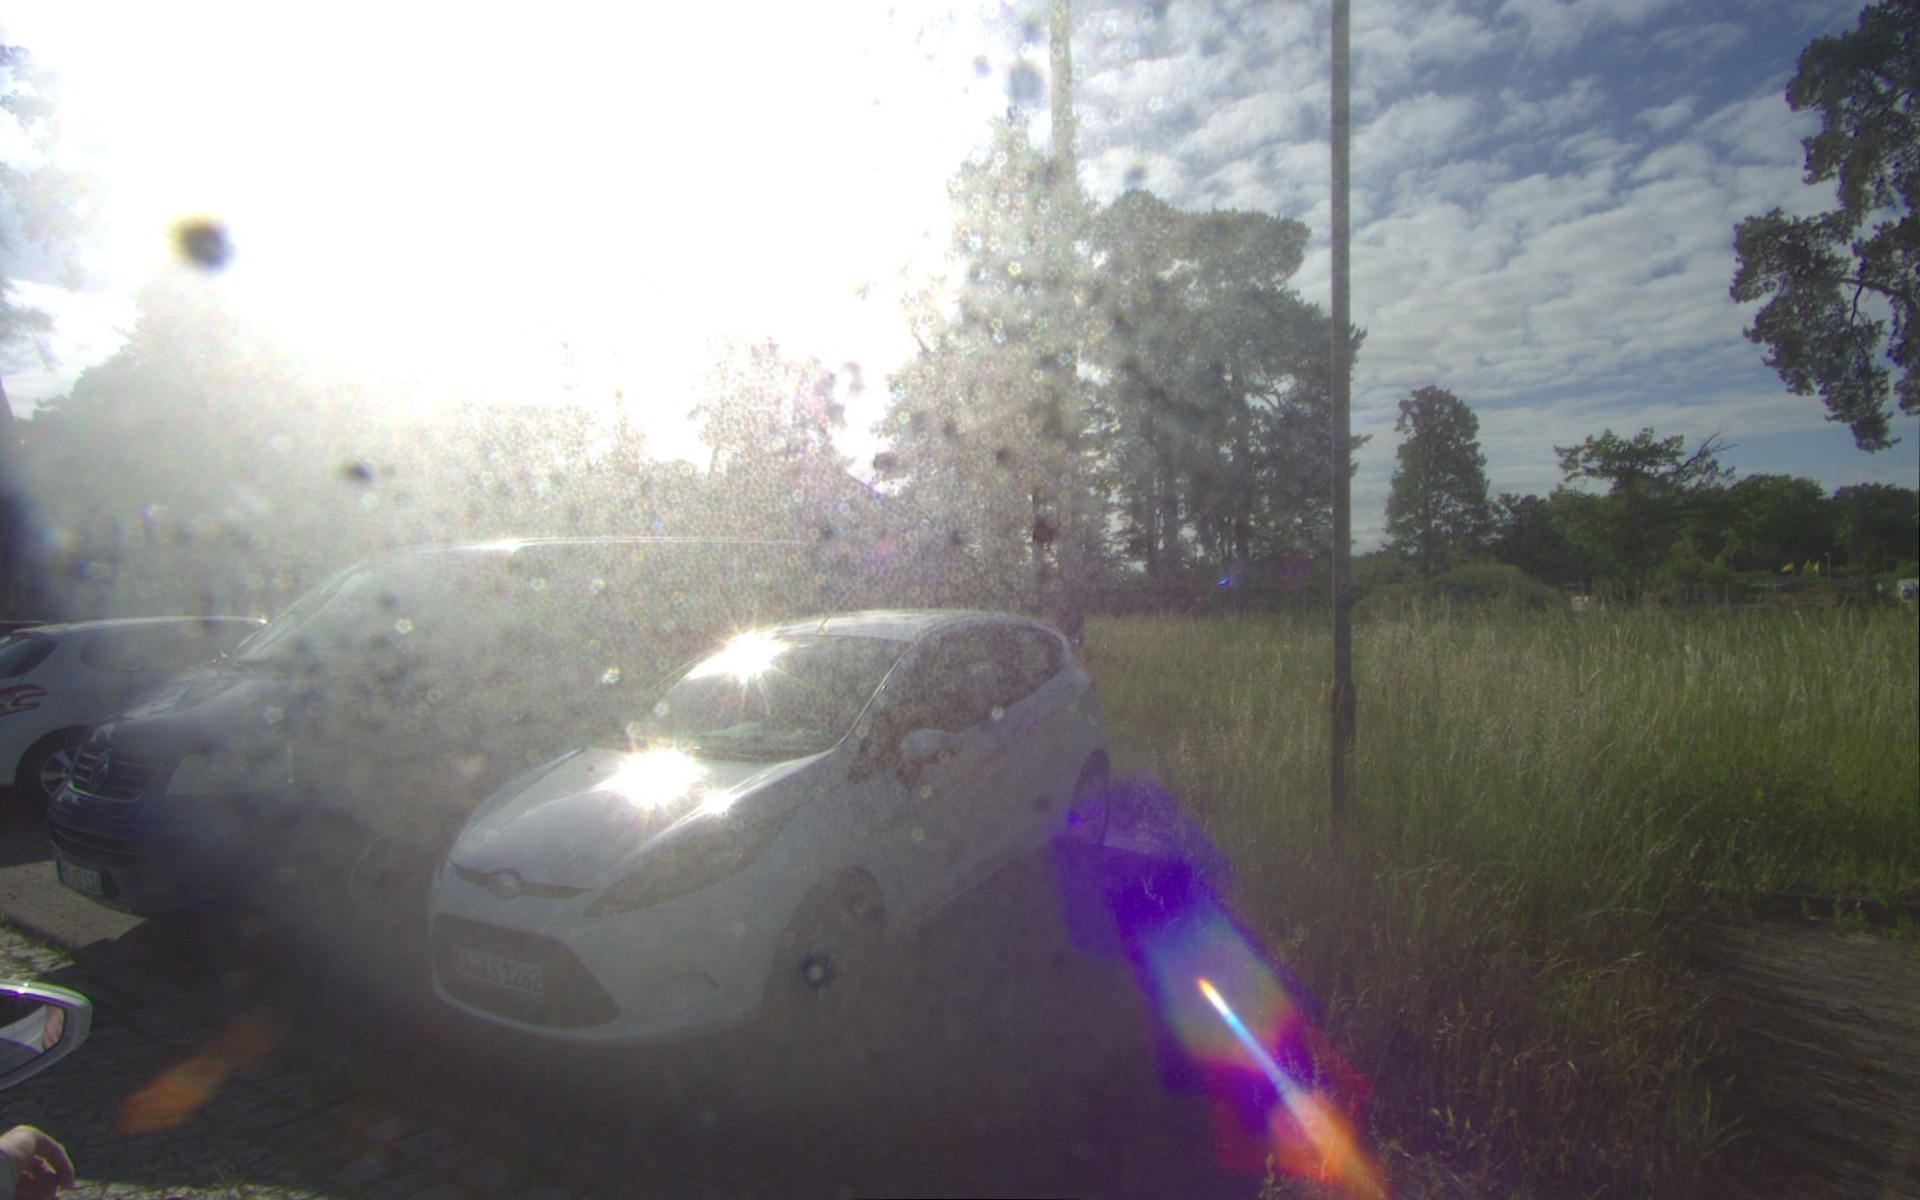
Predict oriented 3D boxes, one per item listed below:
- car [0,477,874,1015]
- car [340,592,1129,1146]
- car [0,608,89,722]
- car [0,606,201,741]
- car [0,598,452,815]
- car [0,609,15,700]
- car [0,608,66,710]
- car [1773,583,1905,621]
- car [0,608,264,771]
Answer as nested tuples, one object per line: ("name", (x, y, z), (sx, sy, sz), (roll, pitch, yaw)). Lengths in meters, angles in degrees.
("car", (-2.704, 0.549, 6.338), (2.052, 2.040, 4.671), (0, 0, 29))
("car", (-0.598, 0.750, 4.815), (1.620, 1.508, 3.713), (0, 1, 29))
("car", (-14.215, 0.905, 13.441), (1.621, 1.550, 3.472), (0, 0, 30))
("car", (-11.770, 0.878, 12.350), (1.621, 1.550, 3.472), (0, 0, 30))
("car", (-6.956, 0.802, 9.254), (1.622, 1.486, 3.684), (0, 2, 32))
("car", (-17.970, 0.951, 15.875), (1.620, 1.550, 4.030), (0, 0, 28))
("car", (-16.000, 0.927, 14.973), (1.621, 1.550, 3.597), (0, 0, 30))
("car", (55.302, 0.162, 63.141), (2.349, 2.200, 5.966), (-1, -1, -39))
("car", (-9.635, 0.883, 10.333), (1.621, 1.487, 3.668), (0, 1, 30))
